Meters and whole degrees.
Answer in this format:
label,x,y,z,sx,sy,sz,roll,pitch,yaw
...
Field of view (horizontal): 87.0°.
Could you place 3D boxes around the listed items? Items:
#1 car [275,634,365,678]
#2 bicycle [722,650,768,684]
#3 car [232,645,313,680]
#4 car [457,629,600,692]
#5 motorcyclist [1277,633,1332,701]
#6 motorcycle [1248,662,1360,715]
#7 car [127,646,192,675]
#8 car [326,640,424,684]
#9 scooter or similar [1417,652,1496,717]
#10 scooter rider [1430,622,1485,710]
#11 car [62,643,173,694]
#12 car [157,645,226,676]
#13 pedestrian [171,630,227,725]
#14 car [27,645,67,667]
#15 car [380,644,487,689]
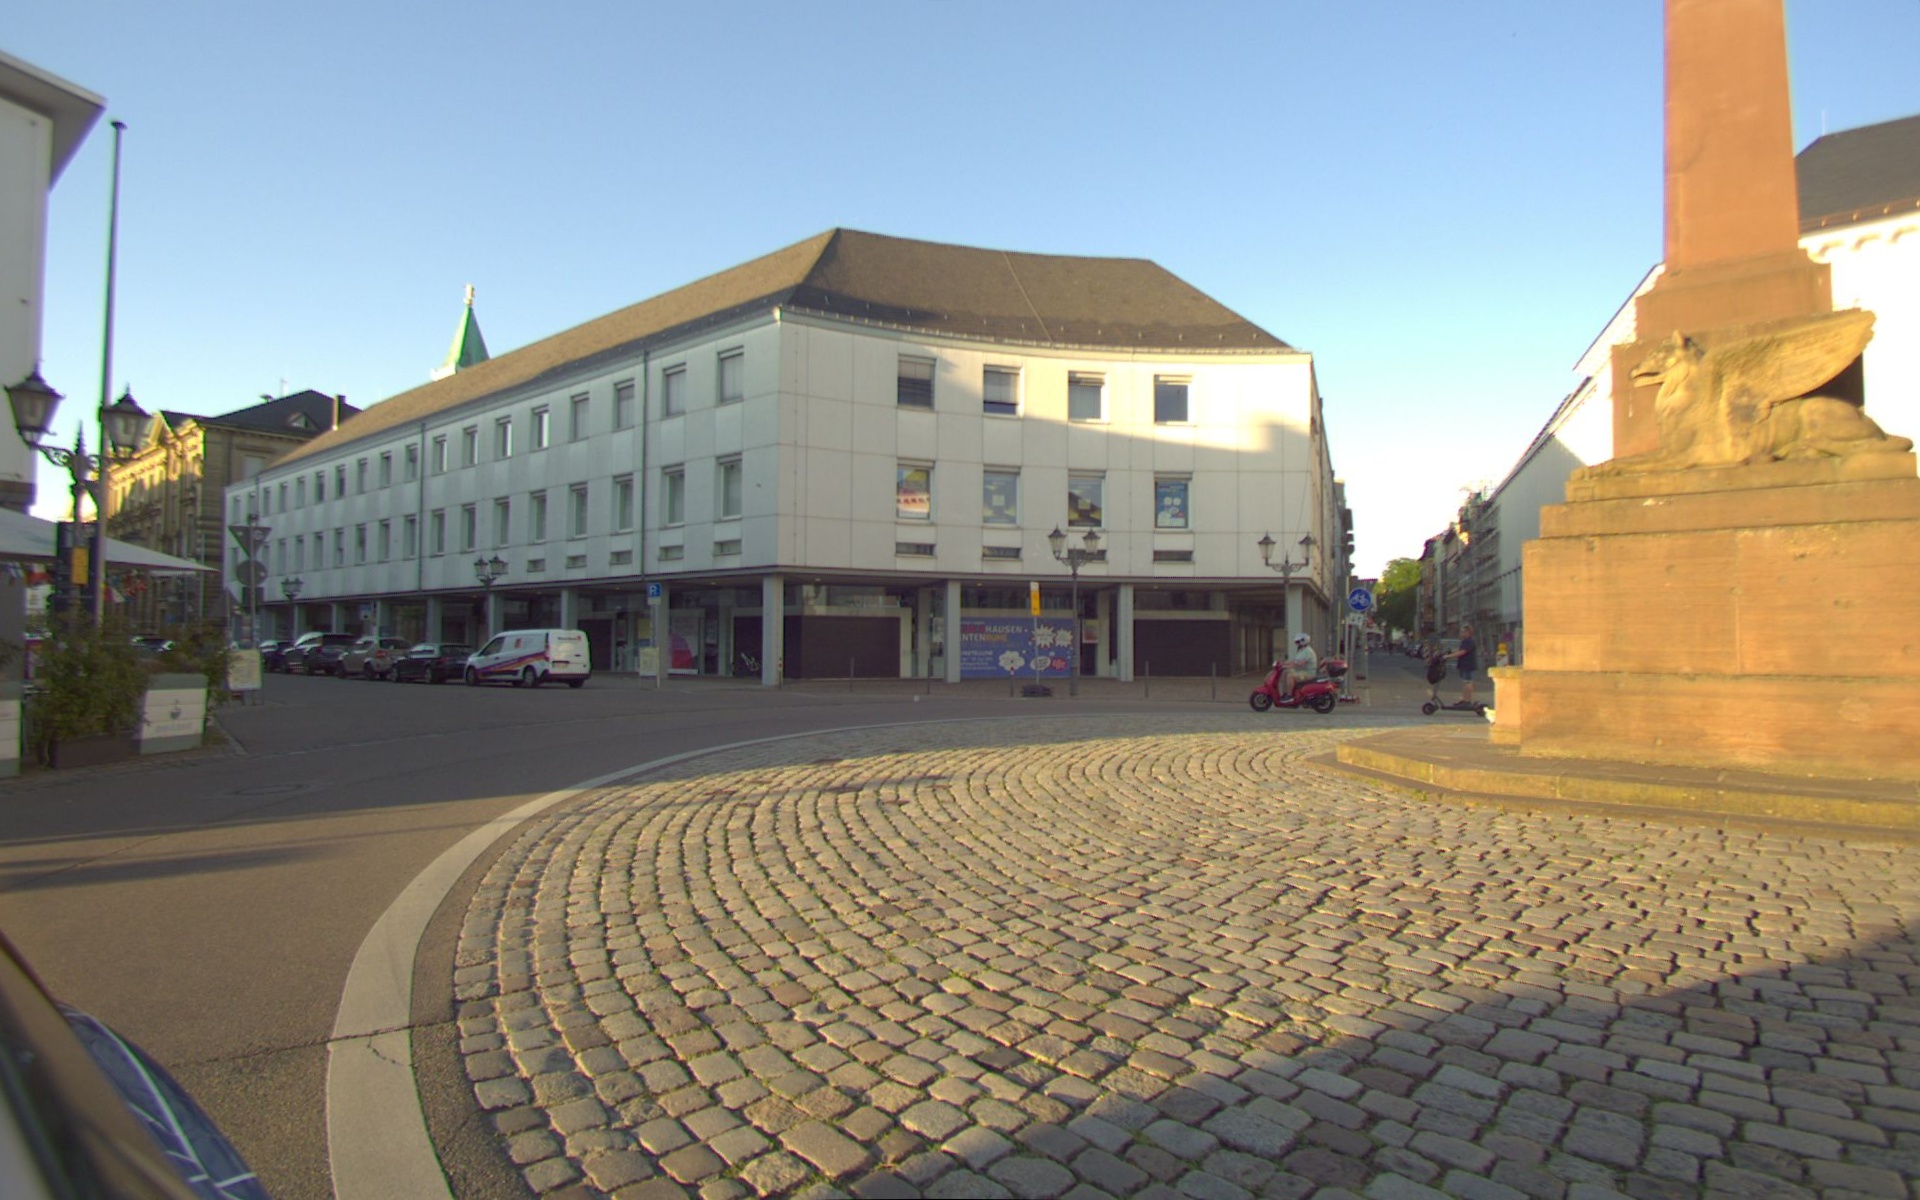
label,x,y,z,sx,sy,sz,roll,pitch,yaw
car,-26.337,2.275,41.611,4.322,1.741,1.759,-2,-3,38
bicycle,-7.655,2.376,35.973,1.947,1.164,0.475,-2,-3,39
car,-30.954,2.777,45.556,4.322,1.503,1.759,-2,-3,38
car,-13.589,1.857,31.831,4.447,1.839,1.999,-2,-3,33
motorcyclist,7.018,1.356,20.656,0.849,1.354,0.804,0,-3,3
motorcycle,6.994,1.797,20.663,2.006,1.054,0.804,0,-3,4
car,-43.649,3.289,55.172,4.322,1.503,1.759,-2,-3,38
car,-21.786,2.270,37.646,3.955,1.527,1.759,-2,-3,38
scooter or similar,10.264,1.729,20.937,1.356,1.281,0.679,-2,-3,36
scooter rider,10.294,1.349,20.941,0.907,1.777,0.678,-2,-3,36
car,-25.032,1.980,30.035,3.956,1.435,1.759,-2,-3,39
car,-39.510,3.084,52.031,4.322,1.503,1.759,-2,-3,38
pedestrian,-14.109,1.423,18.766,0.712,1.713,0.597,-2,-3,34
car,-72.796,4.431,80.680,4.325,1.680,1.758,-2,-3,40
car,-18.084,2.247,34.724,3.955,1.435,1.759,-2,-3,38
